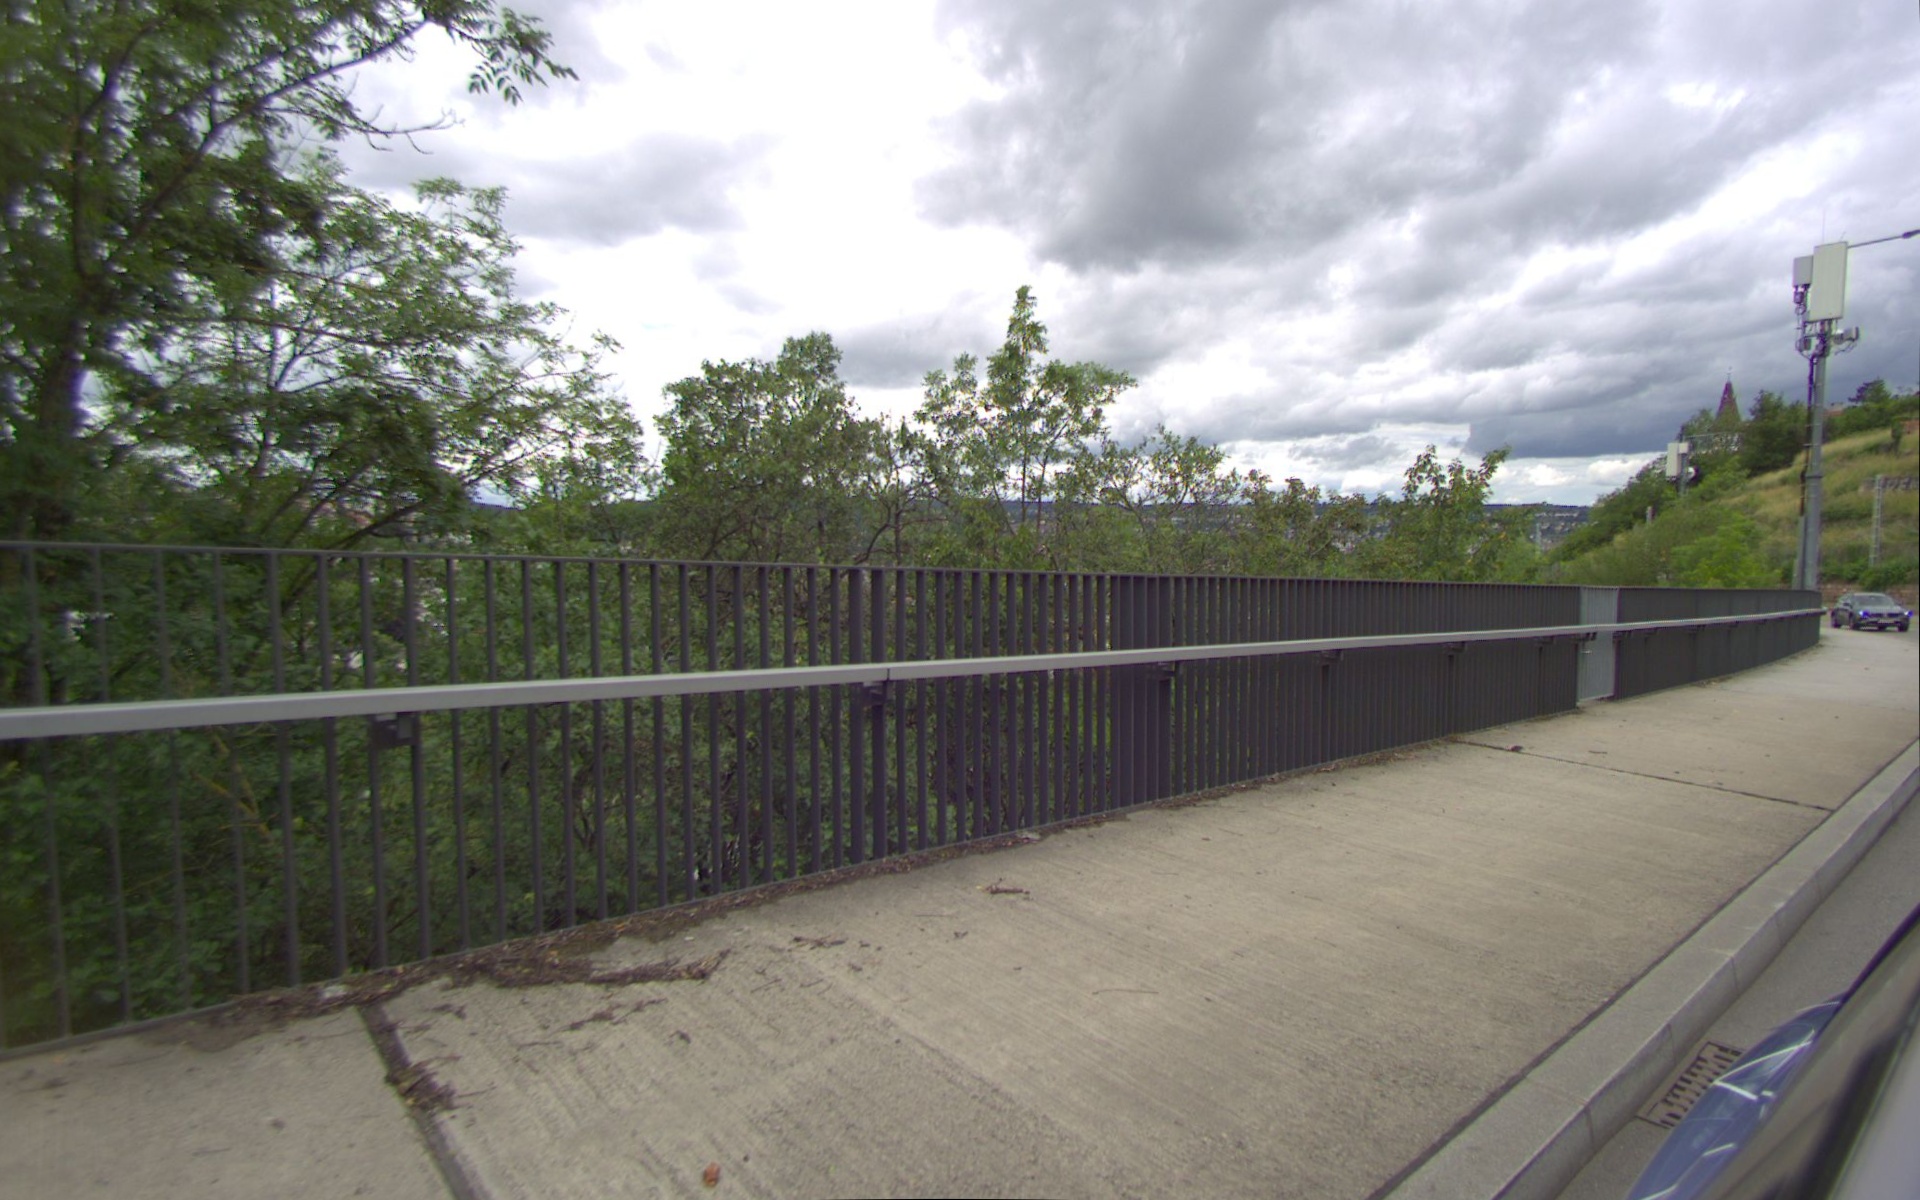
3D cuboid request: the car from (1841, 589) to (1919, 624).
[{"bbox_3d":[39.487,0.257,43.387,1.630,1.406,3.962,0,0,27],"label":"car"}]
